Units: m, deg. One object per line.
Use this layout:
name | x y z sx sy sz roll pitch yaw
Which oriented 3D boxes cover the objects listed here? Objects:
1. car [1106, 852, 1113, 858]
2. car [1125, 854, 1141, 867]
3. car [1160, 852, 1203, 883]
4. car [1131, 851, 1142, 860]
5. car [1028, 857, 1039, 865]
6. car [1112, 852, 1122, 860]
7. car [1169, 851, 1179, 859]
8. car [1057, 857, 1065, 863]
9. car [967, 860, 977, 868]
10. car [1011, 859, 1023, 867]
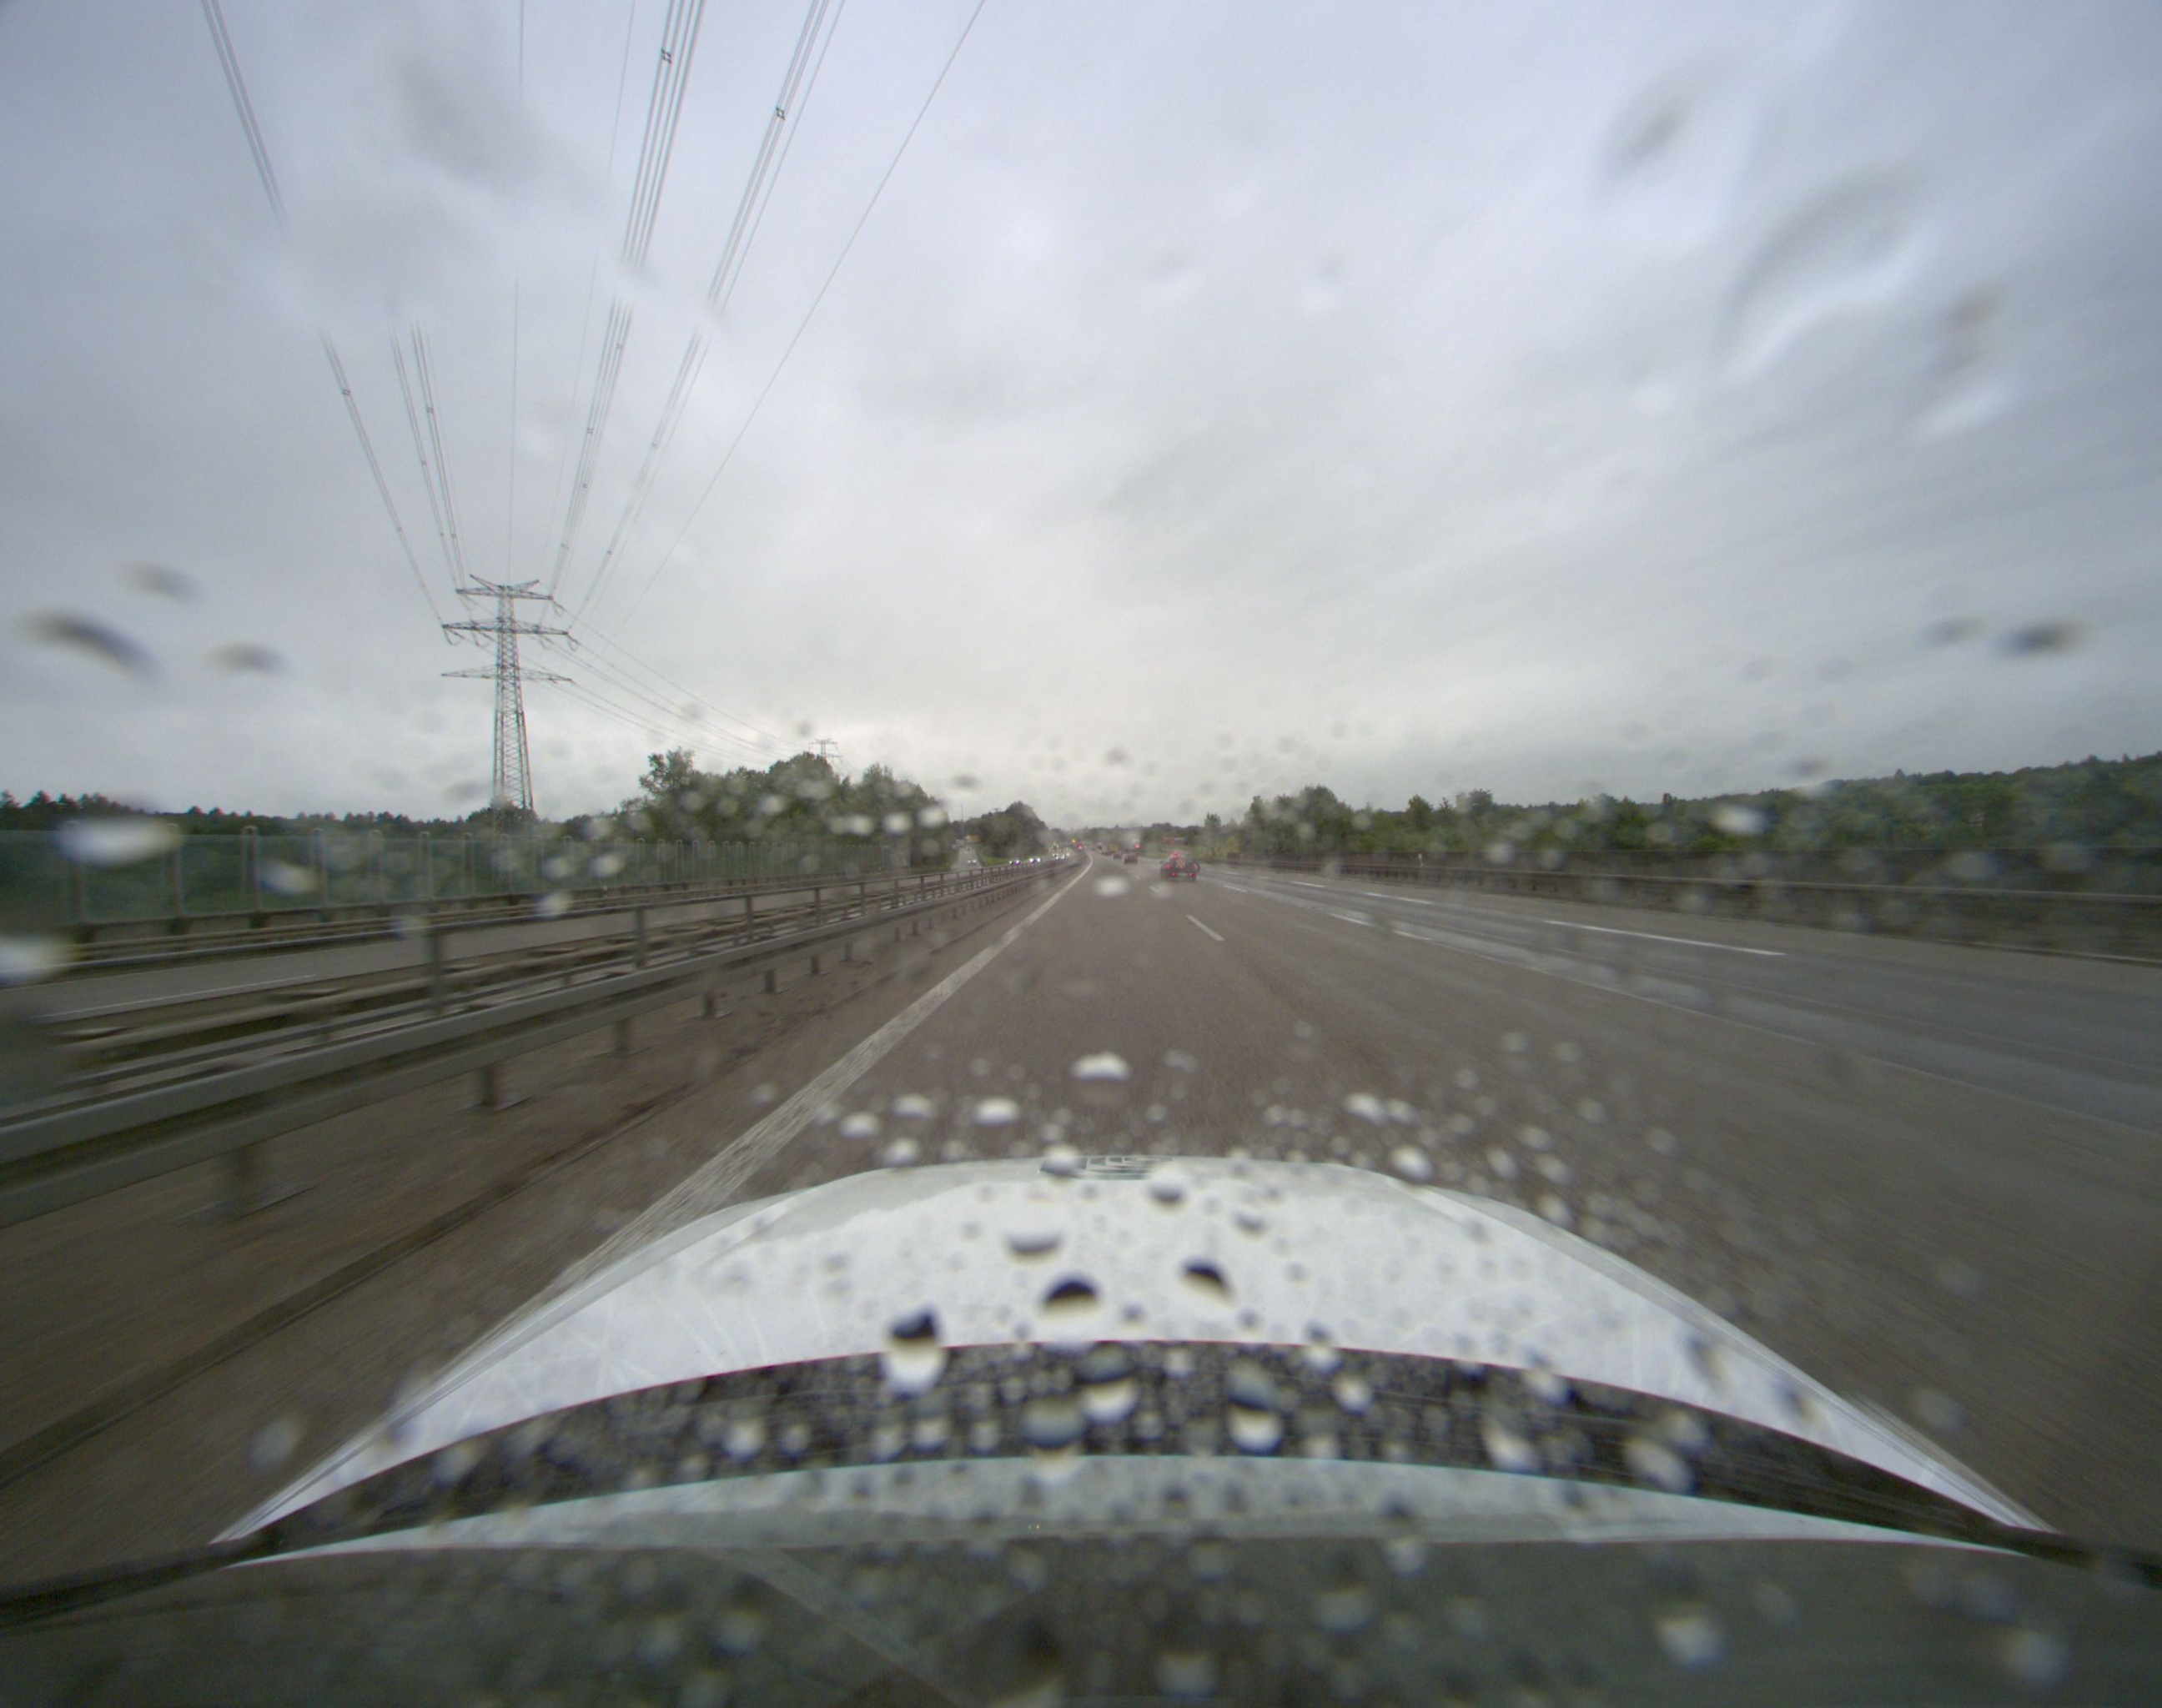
car | 8.782 0.357 255.221 1.987 1.628 3.999 -3 1 0
car | 7.507 0.884 118.437 1.987 1.761 3.999 -3 0 0
car | 5.724 0.757 47.018 2.049 1.671 5.526 -1 0 3
car | 12.551 0.370 184.530 1.987 1.761 3.999 -3 0 0
car | -9.711 1.377 165.920 1.809 1.437 4.090 -3 0 1
car | 8.075 0.443 182.720 1.987 1.628 3.999 -3 1 0
car | 19.649 0.191 171.557 1.912 1.709 4.007 -3 0 6
car | -4.807 1.384 196.263 1.650 1.437 4.090 -3 0 1
car | -25.302 2.300 188.904 1.994 1.670 3.985 -2 0 -11
car | -12.340 1.772 157.392 1.809 1.388 4.090 -3 0 1
